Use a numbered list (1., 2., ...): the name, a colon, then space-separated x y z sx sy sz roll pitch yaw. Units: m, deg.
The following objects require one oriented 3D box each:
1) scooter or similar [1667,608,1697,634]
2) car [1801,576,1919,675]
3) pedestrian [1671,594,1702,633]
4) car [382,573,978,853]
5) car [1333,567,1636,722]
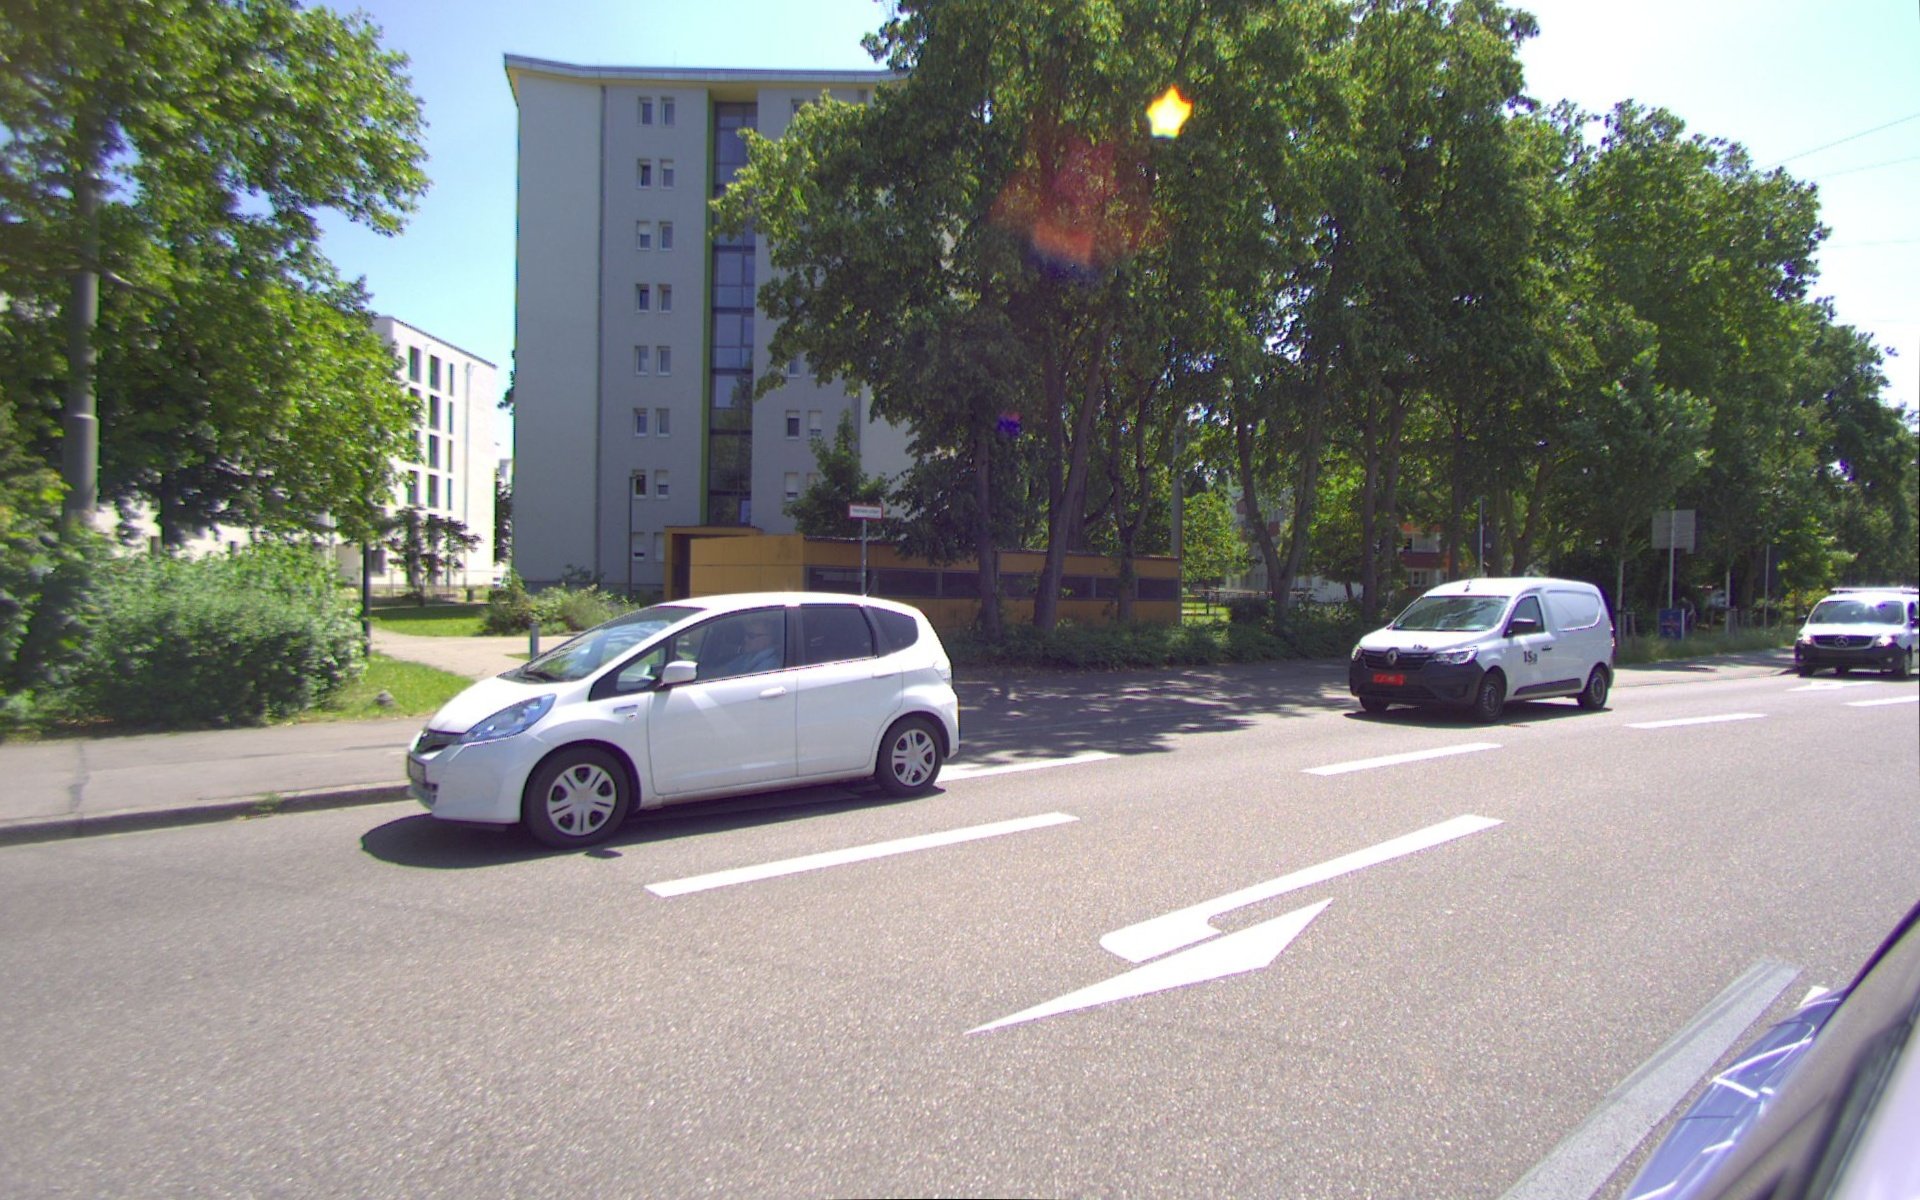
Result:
1. scooter or similar: 25.884 0.735 36.293 0.749 0.904 0.709 1 -1 -39
2. car: 19.678 0.504 21.531 4.990 1.879 1.809 0 -1 -39
3. pedestrian: 26.314 0.482 36.653 0.749 1.416 0.709 1 -1 -39
4. car: -1.875 0.619 7.330 3.807 1.507 1.724 0 -1 -39
5. car: 7.059 0.520 13.471 4.342 1.769 1.715 0 -1 -34
